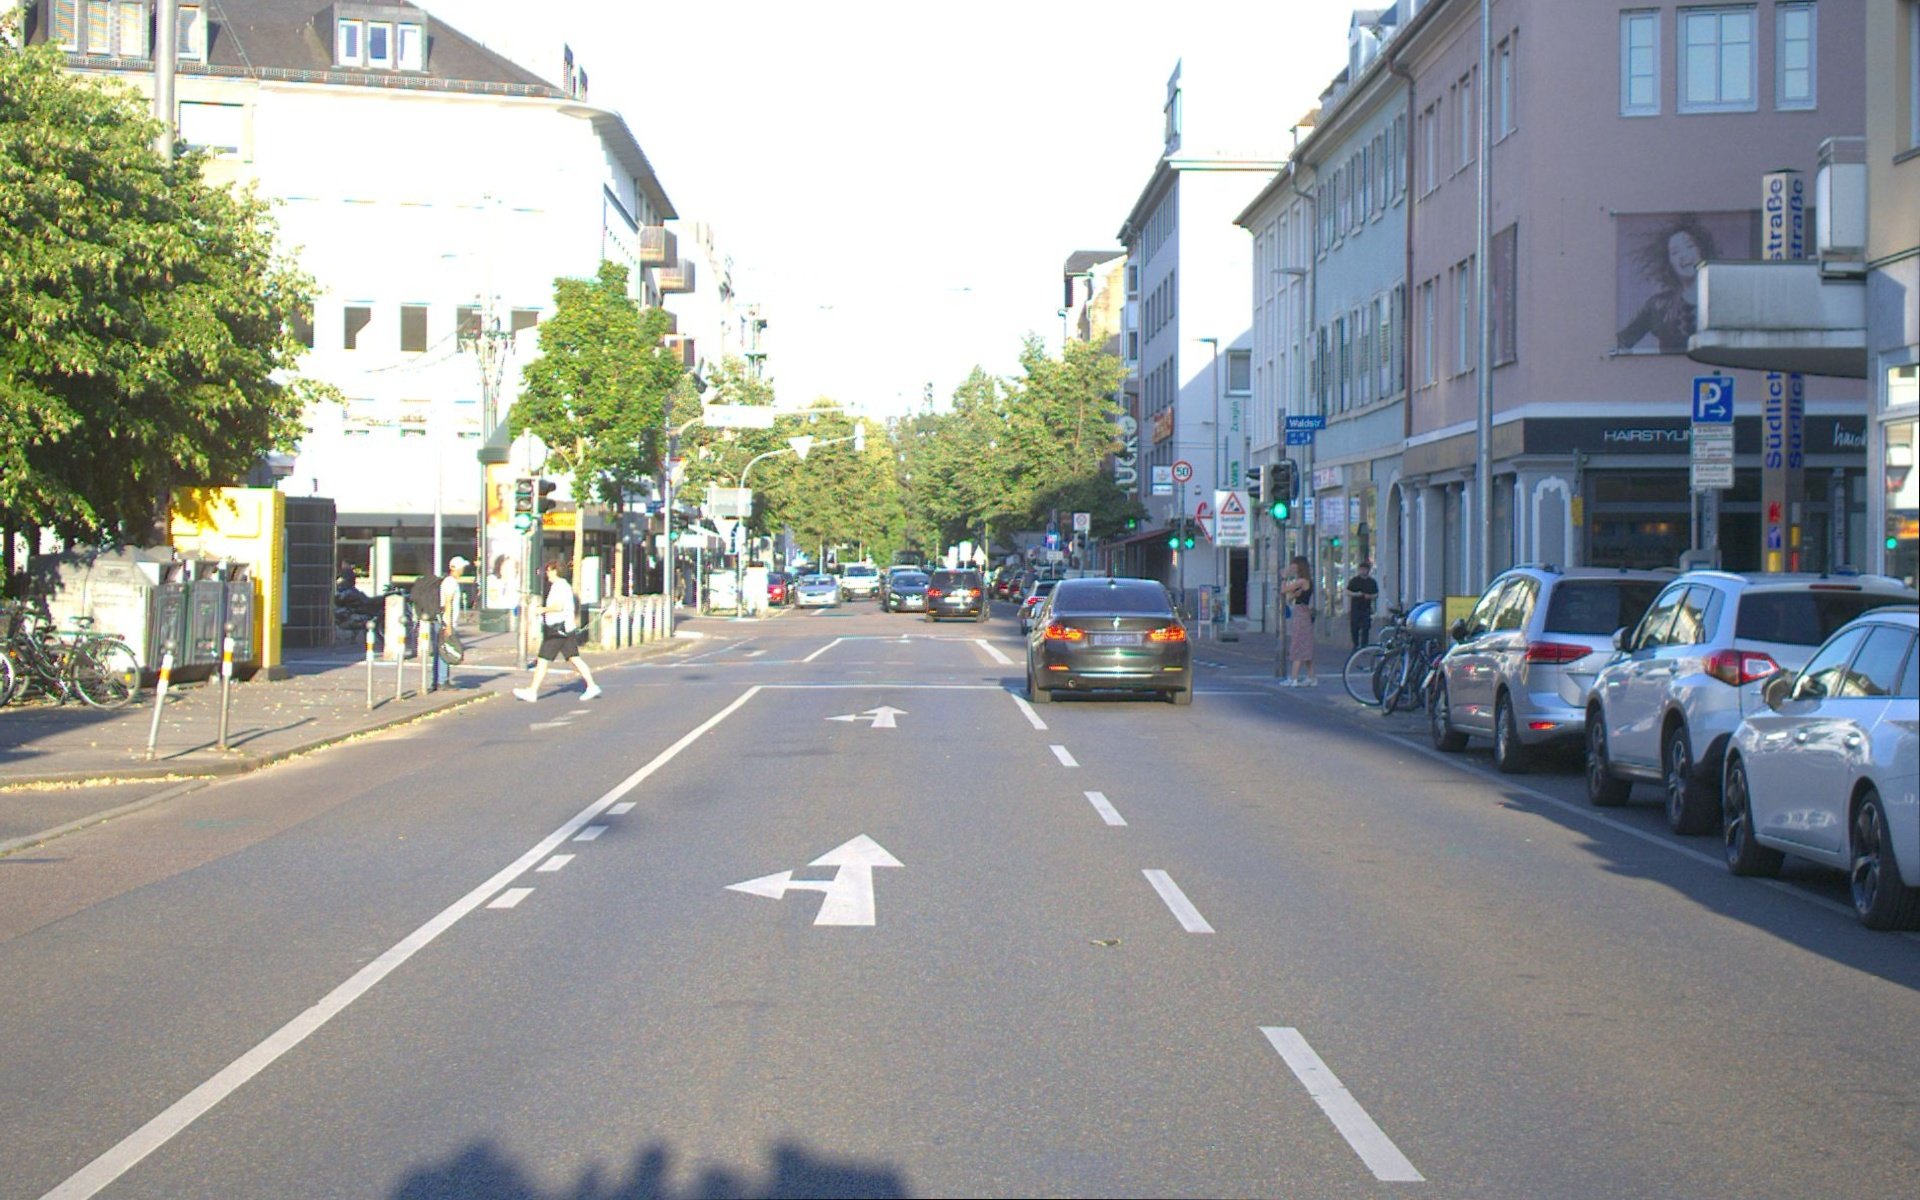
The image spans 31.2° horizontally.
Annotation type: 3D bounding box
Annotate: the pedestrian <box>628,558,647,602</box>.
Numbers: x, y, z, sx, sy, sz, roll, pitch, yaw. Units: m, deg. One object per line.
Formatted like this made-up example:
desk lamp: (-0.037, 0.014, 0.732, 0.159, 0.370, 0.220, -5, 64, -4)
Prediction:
pedestrian: (-12.457, -0.770, 132.841, 0.600, 1.715, 0.578, 1, 0, -14)

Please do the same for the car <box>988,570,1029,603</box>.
car: (2.423, -0.676, 172.996, 1.780, 1.590, 3.635, 1, 1, -3)

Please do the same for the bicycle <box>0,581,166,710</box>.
bicycle: (-9.348, 0.444, 34.882, 2.431, 1.233, 0.518, 2, 0, -2)

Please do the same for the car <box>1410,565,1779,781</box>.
car: (5.095, 0.533, 28.297, 1.993, 1.607, 4.804, 1, 0, -2)

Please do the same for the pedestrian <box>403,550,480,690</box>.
pedestrian: (-6.446, 0.246, 42.711, 0.881, 1.714, 0.715, 1, 0, -12)

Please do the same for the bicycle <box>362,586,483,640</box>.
bicycle: (-11.659, 0.281, 74.572, 2.523, 1.142, 0.701, 0, 0, -3)

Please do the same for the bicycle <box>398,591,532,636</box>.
bicycle: (-11.353, 0.307, 78.926, 2.942, 1.019, 0.843, 0, 0, 2)

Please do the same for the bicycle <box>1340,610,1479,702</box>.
bicycle: (5.154, 0.639, 39.419, 1.500, 1.022, 0.512, -1, 1, -4)

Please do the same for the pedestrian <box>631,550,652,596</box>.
pedestrian: (-12.139, -1.037, 131.105, 0.684, 1.715, 0.702, 1, 0, 0)

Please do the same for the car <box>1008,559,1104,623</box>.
car: (2.470, -0.243, 89.362, 2.334, 1.598, 3.894, 1, 1, 0)

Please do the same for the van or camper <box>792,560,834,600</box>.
van or camper: (-9.075, -1.260, 211.972, 2.472, 2.397, 4.001, 1, 1, -4)

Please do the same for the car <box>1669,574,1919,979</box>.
car: (4.917, 0.715, 16.481, 2.015, 1.538, 4.870, 1, 2, 0)

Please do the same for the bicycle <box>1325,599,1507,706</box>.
bicycle: (5.029, 0.573, 38.007, 1.884, 1.163, 0.723, 0, 0, -4)

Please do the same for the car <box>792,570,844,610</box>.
car: (-5.844, -0.412, 141.565, 1.894, 1.590, 4.000, 1, 1, 1)

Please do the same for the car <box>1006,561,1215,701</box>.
car: (1.660, 0.320, 39.358, 1.888, 1.487, 4.205, 1, 0, -4)

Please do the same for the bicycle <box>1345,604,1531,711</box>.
bicycle: (5.143, 0.619, 37.055, 1.884, 1.109, 0.602, 1, 0, -3)

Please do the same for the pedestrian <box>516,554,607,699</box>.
pedestrian: (-4.784, 0.316, 41.260, 0.868, 1.714, 0.760, 1, 0, -25)

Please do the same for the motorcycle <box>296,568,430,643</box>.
motorcycle: (-11.559, 0.111, 66.627, 2.413, 1.421, 1.113, 0, 0, -1)

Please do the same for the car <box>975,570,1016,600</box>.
car: (1.921, -0.829, 185.921, 1.894, 1.590, 4.001, 1, 1, -3)

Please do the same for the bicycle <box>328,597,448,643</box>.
bicycle: (-11.587, 0.406, 69.726, 2.327, 0.916, 0.701, 0, 0, -3)

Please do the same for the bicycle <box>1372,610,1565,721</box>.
bicycle: (5.283, 0.683, 35.757, 1.884, 1.109, 0.593, 1, -1, -3)

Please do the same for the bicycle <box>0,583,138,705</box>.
bicycle: (-9.783, 0.444, 35.564, 2.431, 1.233, 0.462, 1, 0, -2)

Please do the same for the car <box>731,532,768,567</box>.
car: (-12.302, -2.935, 201.152, 1.828, 2.007, 3.676, 1, 1, 1)

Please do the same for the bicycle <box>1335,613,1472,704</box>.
bicycle: (5.143, 0.675, 39.908, 1.500, 1.012, 0.512, 1, 0, -3)

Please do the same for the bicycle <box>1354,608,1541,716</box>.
bicycle: (5.170, 0.654, 36.515, 1.884, 1.109, 0.521, 1, 0, -3)

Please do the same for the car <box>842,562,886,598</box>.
car: (-4.806, -0.989, 172.404, 1.993, 1.744, 4.000, 1, 1, 1)

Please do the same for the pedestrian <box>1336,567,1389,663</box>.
pedestrian: (7.498, 0.275, 64.079, 0.757, 1.771, 1.048, 1, 0, -5)

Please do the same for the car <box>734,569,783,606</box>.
car: (-9.025, -0.558, 154.082, 1.894, 1.590, 4.000, 1, 1, 1)

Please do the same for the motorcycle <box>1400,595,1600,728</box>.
motorcycle: (5.270, 0.593, 33.607, 1.812, 1.259, 0.716, -1, 0, -3)

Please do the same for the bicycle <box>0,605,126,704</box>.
bicycle: (-9.883, 0.552, 36.151, 2.043, 0.967, 0.636, 3, 0, -2)

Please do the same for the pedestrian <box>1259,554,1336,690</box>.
pedestrian: (4.342, 0.276, 44.253, 0.794, 1.714, 0.812, 1, 0, -7)

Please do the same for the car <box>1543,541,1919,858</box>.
car: (5.101, 0.541, 22.110, 1.867, 1.756, 4.409, 1, 2, -1)

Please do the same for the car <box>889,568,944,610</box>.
car: (-1.601, -0.410, 126.850, 1.885, 1.481, 4.000, 1, 1, 1)

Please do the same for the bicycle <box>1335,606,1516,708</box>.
bicycle: (5.248, 0.639, 38.817, 1.884, 1.109, 0.762, 1, 0, -4)

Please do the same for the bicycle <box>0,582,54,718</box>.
bicycle: (-10.104, 0.450, 33.370, 2.506, 1.279, 0.815, 1, 0, 20)

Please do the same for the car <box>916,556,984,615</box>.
car: (-0.317, -0.450, 104.487, 1.993, 1.744, 4.000, 1, 1, 0)
